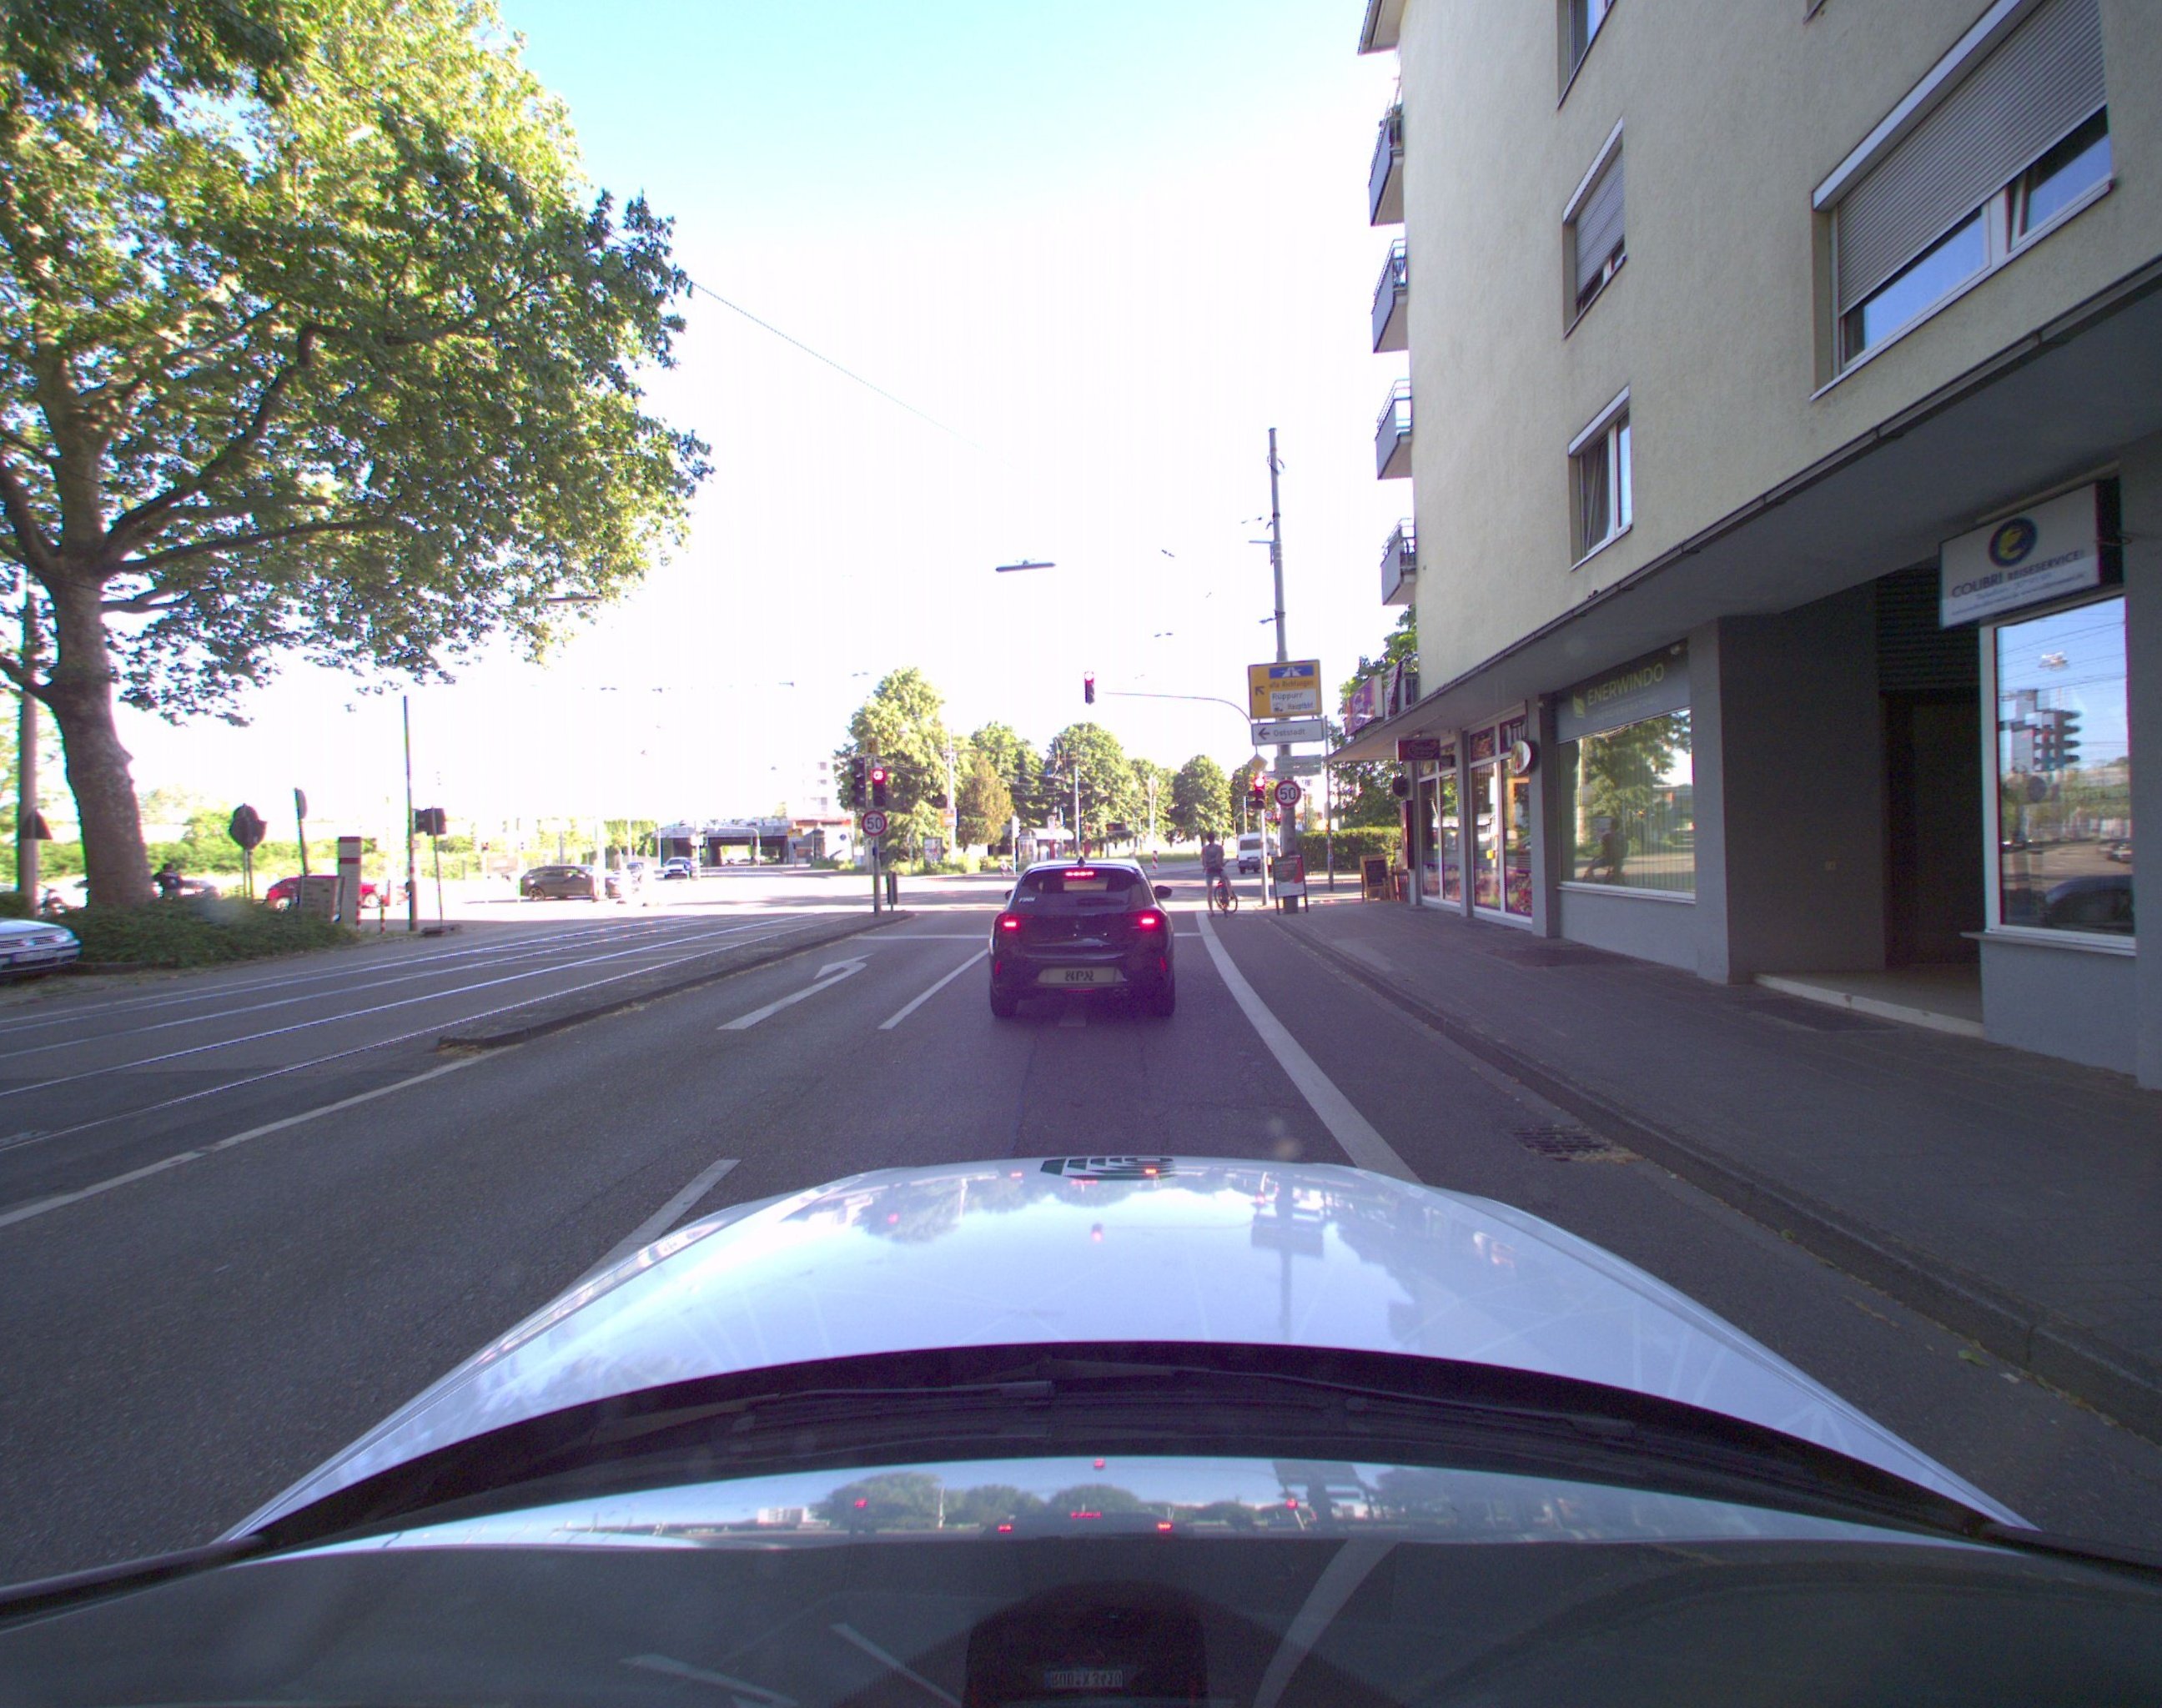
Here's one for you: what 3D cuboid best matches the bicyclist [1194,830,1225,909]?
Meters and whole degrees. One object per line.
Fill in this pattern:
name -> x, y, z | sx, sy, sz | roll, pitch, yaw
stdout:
bicyclist -> 2.822, 0.333, 17.813 | 0.529, 1.692, 0.571 | -2, 0, 19

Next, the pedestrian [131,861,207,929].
pedestrian -> -22.979, 1.016, 20.537 | 0.842, 1.647, 0.931 | 0, -1, 1

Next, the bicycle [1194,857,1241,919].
bicycle -> 3.033, 0.716, 17.973 | 0.747, 1.235, 2.024 | -2, 0, 16

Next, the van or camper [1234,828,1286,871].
van or camper -> 10.203, -0.221, 46.226 | 2.011, 2.310, 4.565 | -1, -1, 23

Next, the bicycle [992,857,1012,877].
bicycle -> -4.526, 0.743, 46.739 | 0.793, 1.064, 2.186 | -2, 0, 2

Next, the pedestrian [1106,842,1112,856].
pedestrian -> 3.795, -0.730, 110.759 | 0.607, 1.872, 0.515 | 0, -1, -29

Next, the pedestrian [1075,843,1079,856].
pedestrian -> -0.563, -0.642, 117.576 | 0.602, 1.872, 0.519 | 0, -1, -4

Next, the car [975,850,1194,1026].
car -> 0.094, 0.704, 8.926 | 1.833, 1.462, 3.985 | -1, 0, 2

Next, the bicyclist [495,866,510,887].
bicyclist -> -34.681, 1.362, 48.826 | 0.521, 1.222, 0.532 | -1, 0, 20

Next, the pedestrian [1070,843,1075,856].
pedestrian -> -1.258, -0.634, 118.025 | 0.602, 1.872, 0.519 | 0, -1, -4

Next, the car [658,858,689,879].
car -> -33.392, 1.177, 66.786 | 1.892, 1.585, 3.809 | 0, -1, -21

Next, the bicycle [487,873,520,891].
bicycle -> -34.650, 1.684, 48.896 | 0.521, 0.982, 1.585 | -1, 0, 20

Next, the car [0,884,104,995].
car -> -16.628, 1.196, 11.339 | 3.957, 1.453, 1.670 | -1, 0, -1

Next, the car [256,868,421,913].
car -> -30.049, 1.431, 33.148 | 4.495, 1.565, 2.008 | -1, 0, -22

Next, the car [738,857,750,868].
car -> -54.294, 1.398, 131.193 | 1.761, 1.684, 3.713 | 0, -1, -22

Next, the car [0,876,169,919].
car -> -39.941, 1.687, 32.531 | 4.201, 1.552, 1.982 | 0, -1, -23

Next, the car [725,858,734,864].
car -> -80.371, 1.566, 186.323 | 1.587, 1.260, 3.397 | -2, 0, -28

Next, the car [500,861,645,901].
car -> -20.829, 1.101, 33.497 | 4.708, 1.473, 1.940 | -1, 0, 2
